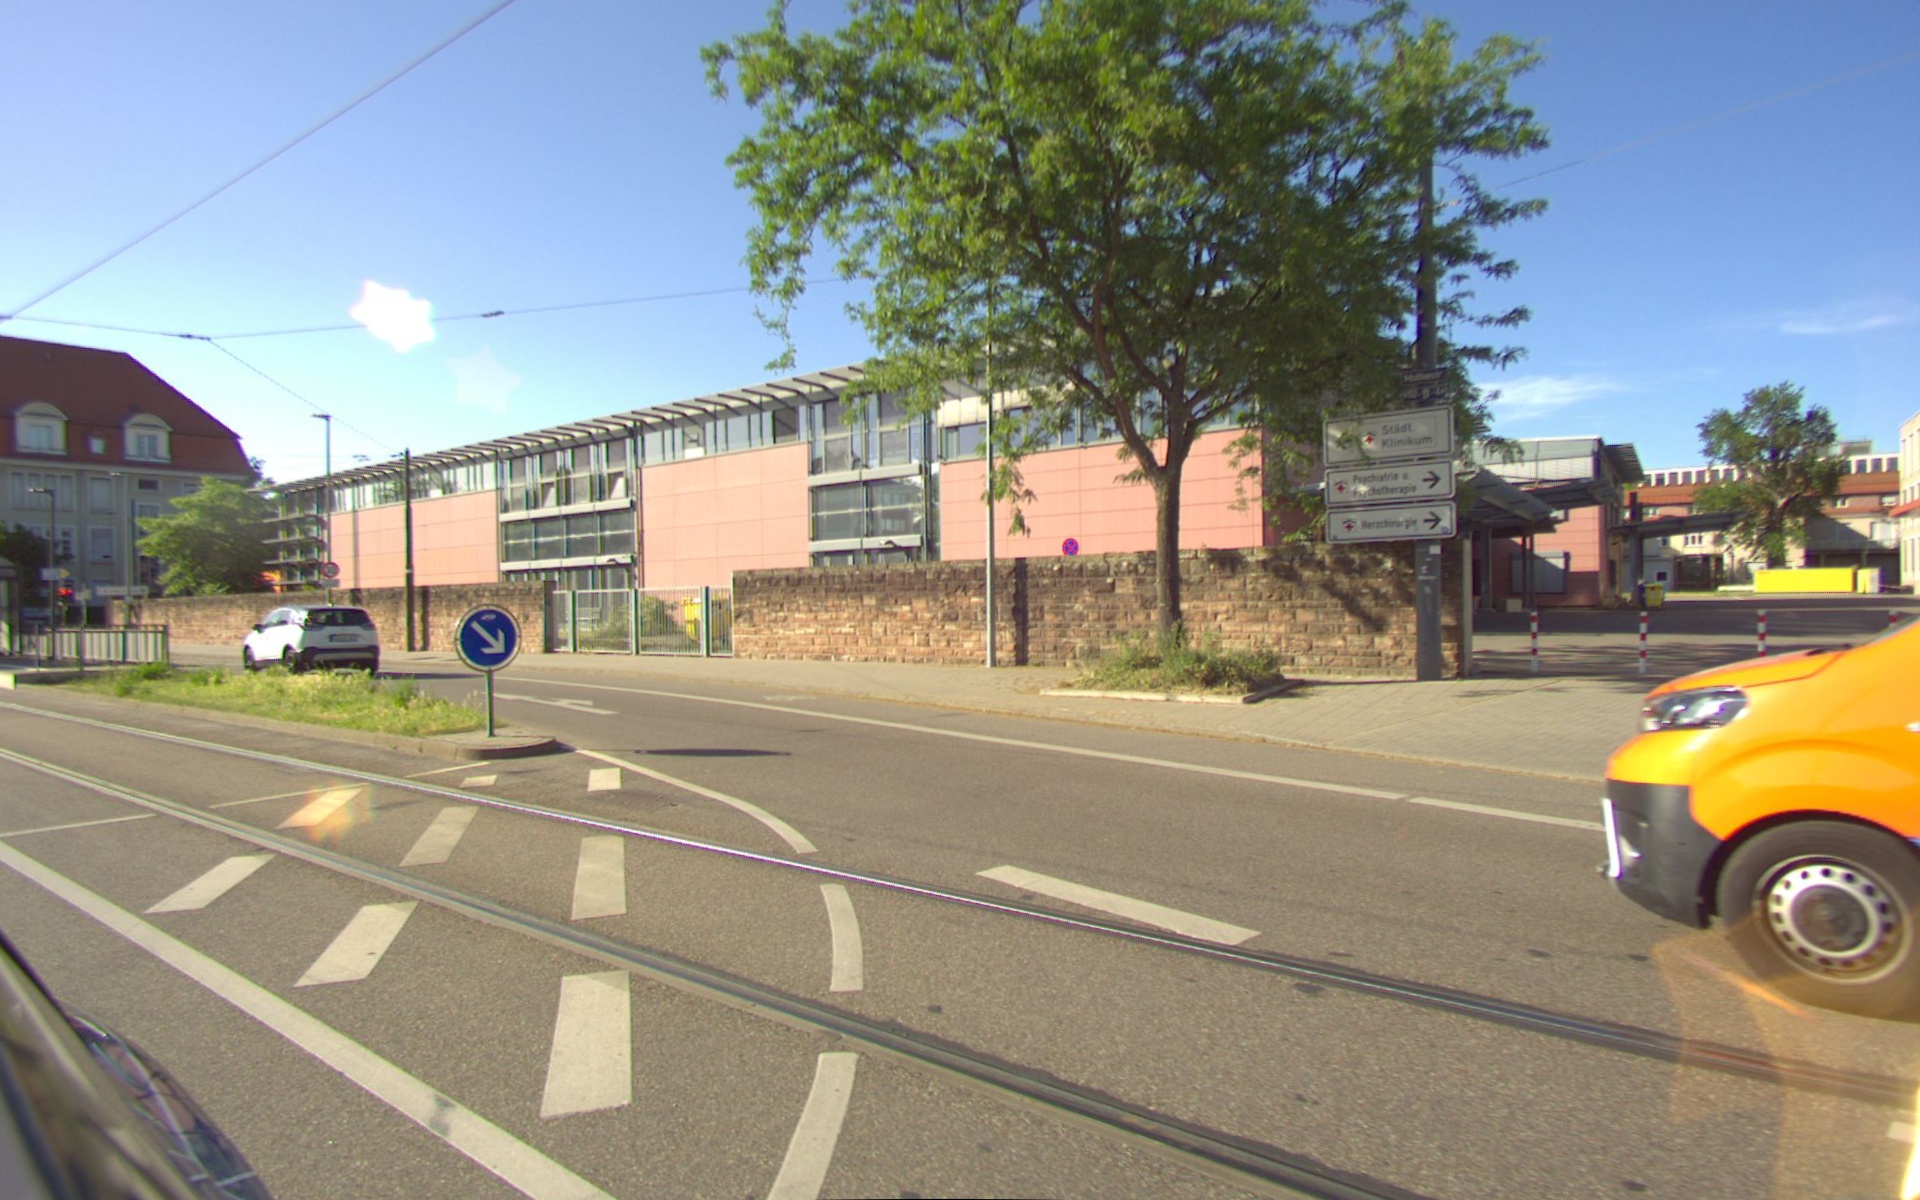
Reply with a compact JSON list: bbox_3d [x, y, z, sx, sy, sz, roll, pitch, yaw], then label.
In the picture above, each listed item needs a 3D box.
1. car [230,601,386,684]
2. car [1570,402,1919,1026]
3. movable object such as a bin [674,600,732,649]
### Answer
[{"bbox_3d":[-14.648,0.904,22.671,4.206,1.676,1.747,-1,-1,39],"label":"car"},{"bbox_3d":[4.762,0.330,2.747,1.969,1.980,4.941,-1,0,-41],"label":"car"},{"bbox_3d":[-7.006,0.652,27.567,1.306,1.295,0.873,-1,-1,35],"label":"movable object such as a bin"}]
